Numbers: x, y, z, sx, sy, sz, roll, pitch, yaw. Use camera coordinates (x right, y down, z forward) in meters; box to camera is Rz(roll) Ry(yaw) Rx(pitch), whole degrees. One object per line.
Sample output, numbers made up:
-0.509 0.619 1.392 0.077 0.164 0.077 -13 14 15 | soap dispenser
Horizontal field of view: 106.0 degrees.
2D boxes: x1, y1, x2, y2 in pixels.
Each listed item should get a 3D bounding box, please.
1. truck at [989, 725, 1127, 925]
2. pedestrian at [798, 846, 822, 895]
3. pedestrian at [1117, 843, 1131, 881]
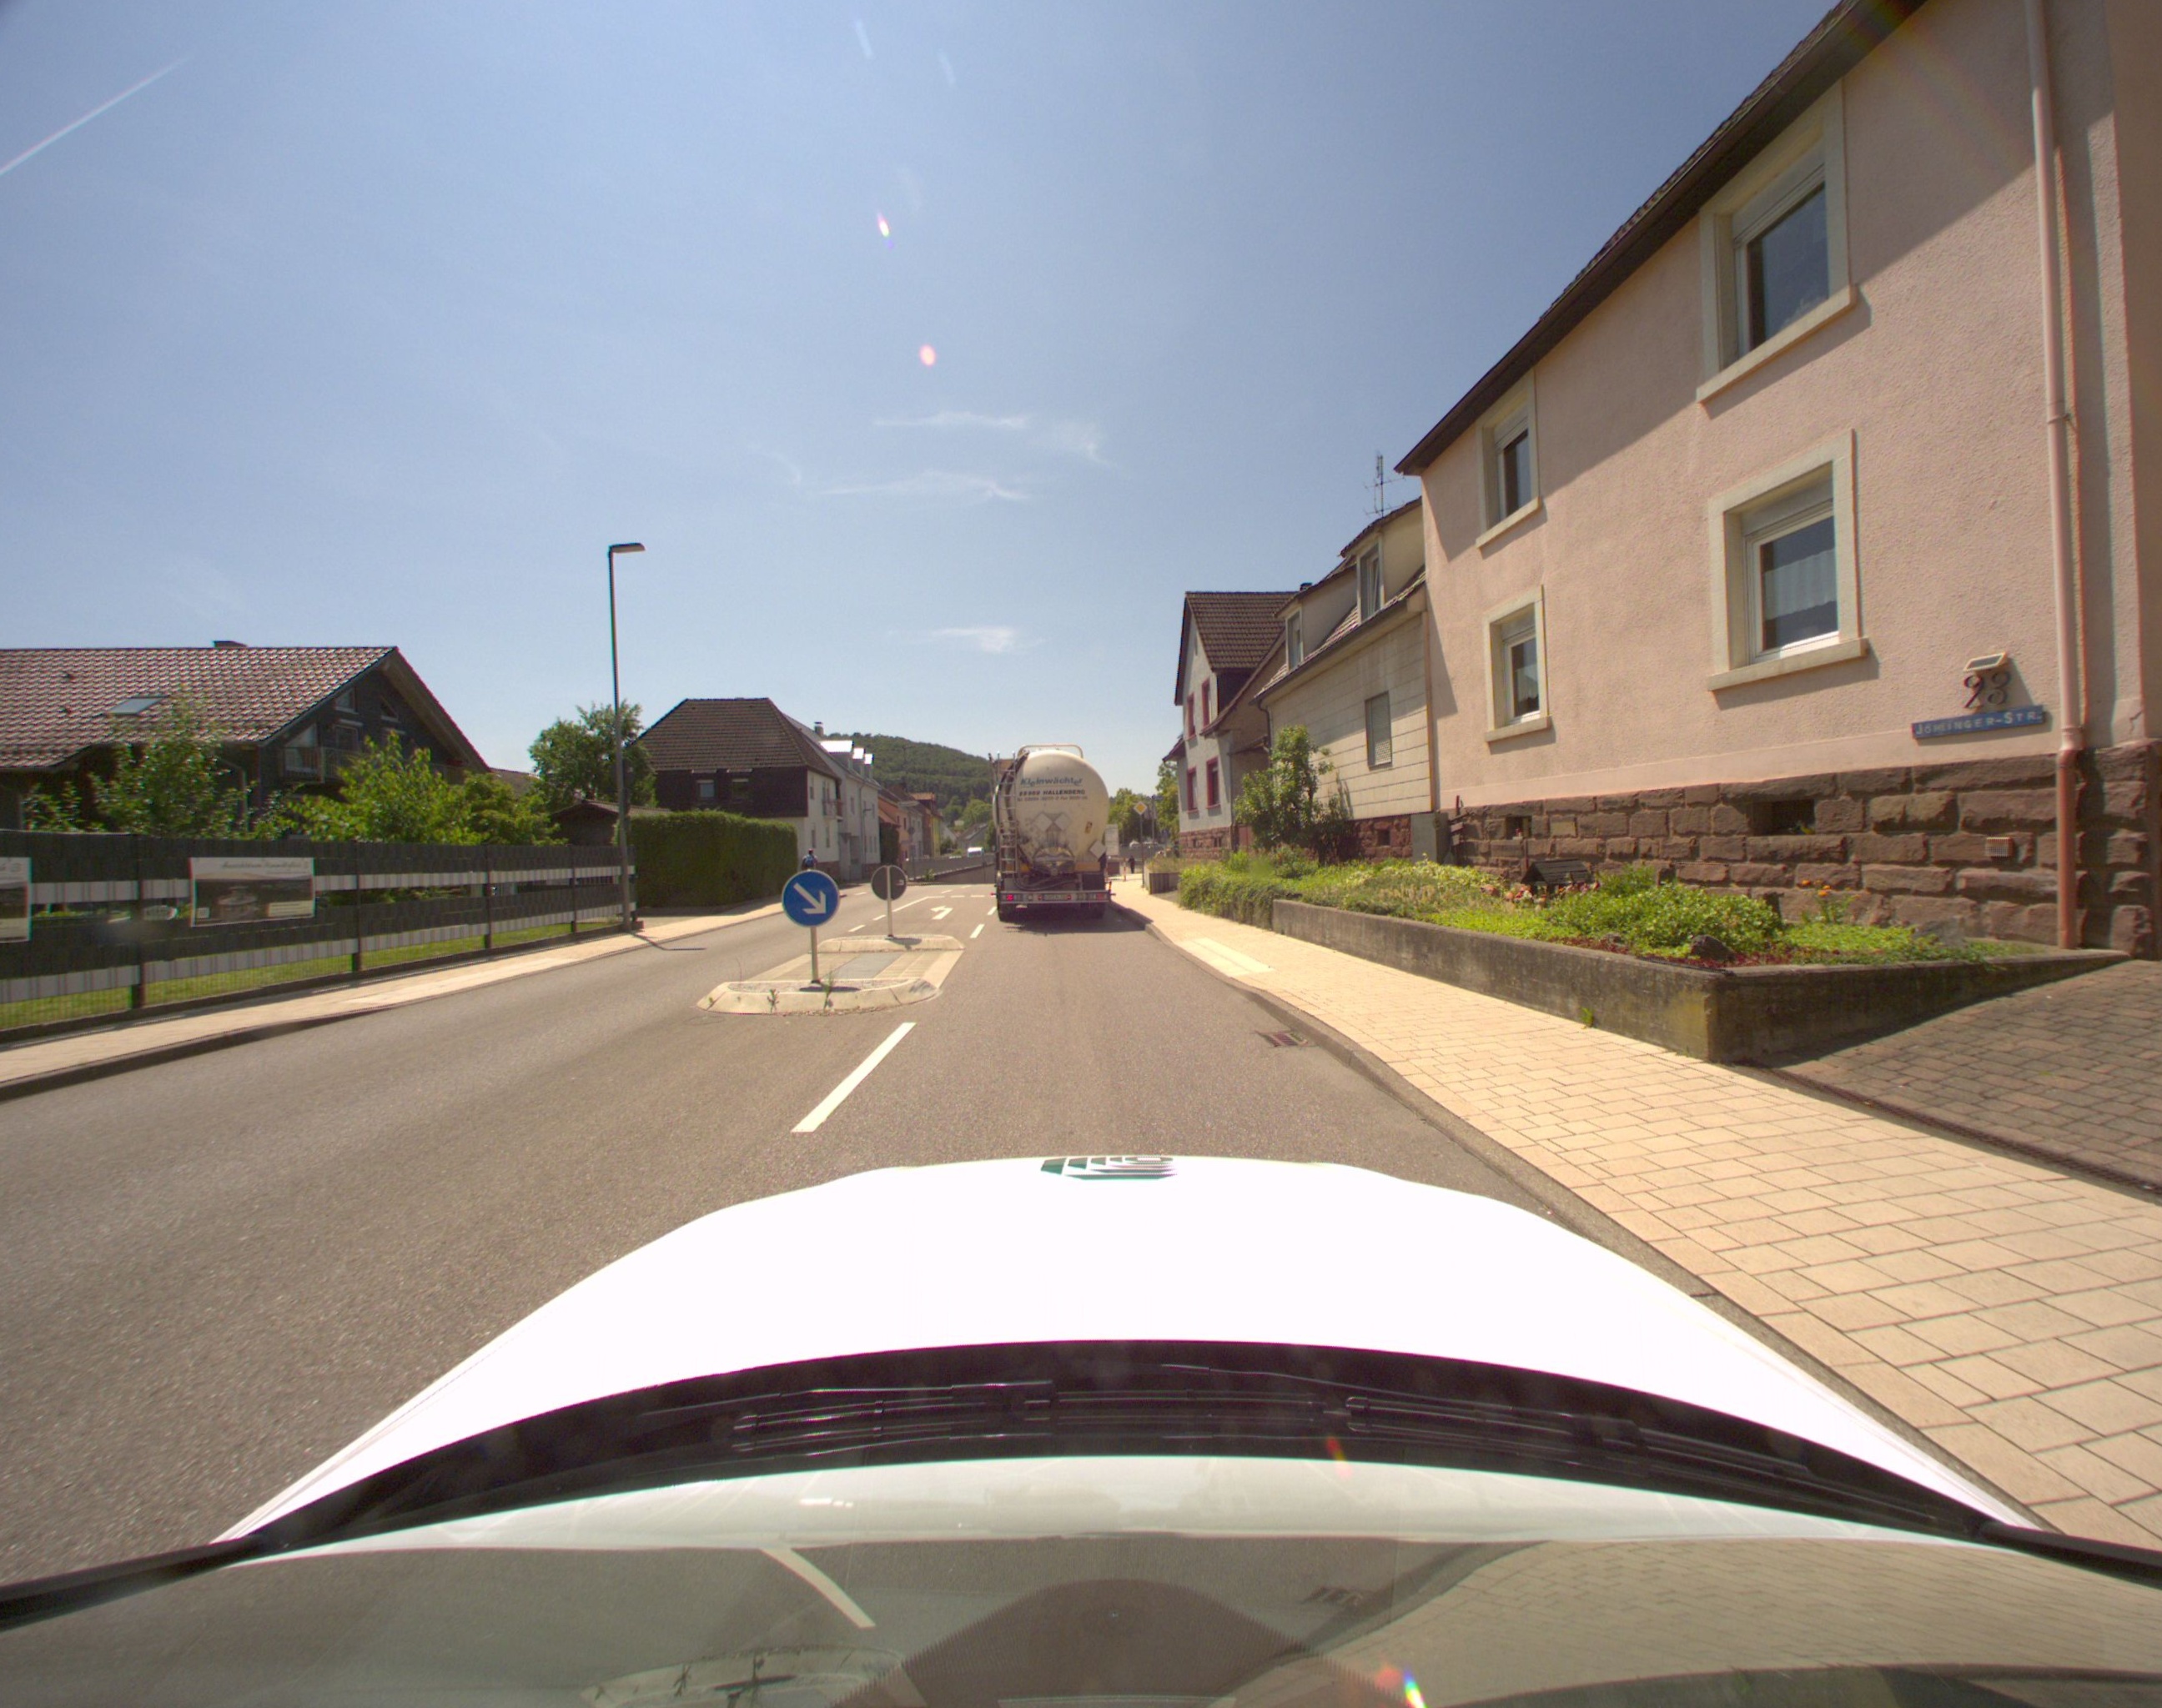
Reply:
-0.933 -0.603 22.089 2.746 4.056 10.869 -1 0 -5 | truck
-10.339 0.624 31.034 0.712 1.823 0.896 0 -1 -8 | pedestrian
1.936 0.356 36.944 0.569 1.694 0.720 -1 -1 -1 | pedestrian
